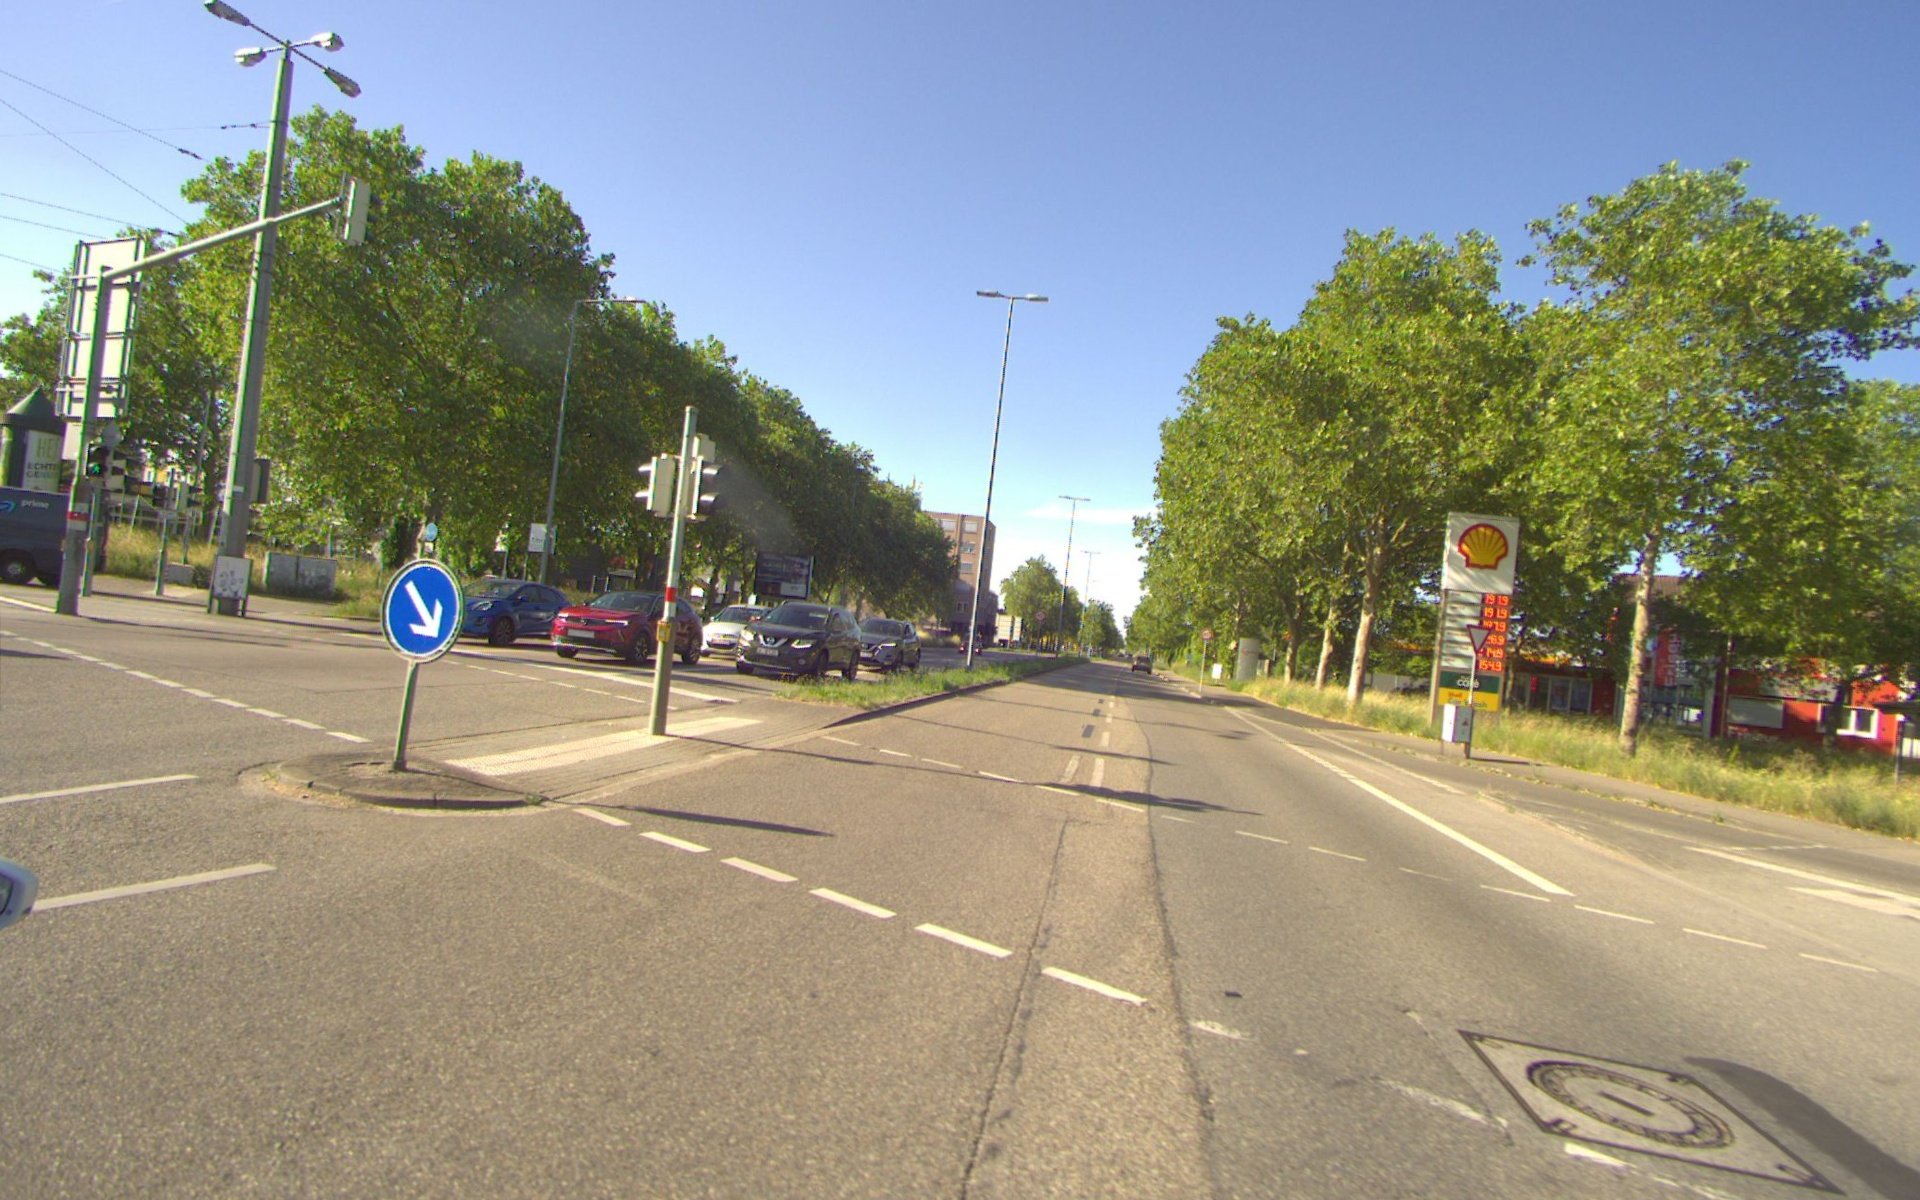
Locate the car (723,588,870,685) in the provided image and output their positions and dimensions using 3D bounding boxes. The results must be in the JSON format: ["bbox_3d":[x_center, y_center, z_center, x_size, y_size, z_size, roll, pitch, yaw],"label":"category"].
[{"bbox_3d":[-3.445,0.812,22.208,1.884,1.731,4.499,6,-2,7],"label":"car"}]

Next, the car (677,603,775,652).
[{"bbox_3d":[-8.310,1.022,36.173,1.898,1.424,4.575,7,-2,7],"label":"car"}]

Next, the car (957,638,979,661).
[{"bbox_3d":[0.640,3.823,77.554,1.346,1.635,3.212,3,-2,6],"label":"car"}]

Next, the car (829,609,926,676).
[{"bbox_3d":[-2.389,1.287,30.139,1.962,1.637,4.004,7,-2,7],"label":"car"}]

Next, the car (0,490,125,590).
[{"bbox_3d":[-23.261,-1.604,23.631,5.056,2.094,2.118,8,-2,-25],"label":"car"}]

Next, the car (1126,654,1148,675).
[{"bbox_3d":[16.582,6.012,94.383,1.792,1.724,3.778,7,-2,8],"label":"car"}]

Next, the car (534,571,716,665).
[{"bbox_3d":[-6.956,0.434,21.391,1.781,1.619,4.094,6,-2,10],"label":"car"}]

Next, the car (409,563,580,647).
[{"bbox_3d":[-10.586,0.182,23.209,1.680,1.619,3.863,6,-1,6],"label":"car"}]

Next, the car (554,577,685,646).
[{"bbox_3d":[-9.889,0.406,29.600,1.898,1.698,4.180,7,-2,6],"label":"car"}]

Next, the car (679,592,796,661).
[{"bbox_3d":[-6.154,0.790,28.287,1.680,1.619,3.864,6,-2,10],"label":"car"}]
